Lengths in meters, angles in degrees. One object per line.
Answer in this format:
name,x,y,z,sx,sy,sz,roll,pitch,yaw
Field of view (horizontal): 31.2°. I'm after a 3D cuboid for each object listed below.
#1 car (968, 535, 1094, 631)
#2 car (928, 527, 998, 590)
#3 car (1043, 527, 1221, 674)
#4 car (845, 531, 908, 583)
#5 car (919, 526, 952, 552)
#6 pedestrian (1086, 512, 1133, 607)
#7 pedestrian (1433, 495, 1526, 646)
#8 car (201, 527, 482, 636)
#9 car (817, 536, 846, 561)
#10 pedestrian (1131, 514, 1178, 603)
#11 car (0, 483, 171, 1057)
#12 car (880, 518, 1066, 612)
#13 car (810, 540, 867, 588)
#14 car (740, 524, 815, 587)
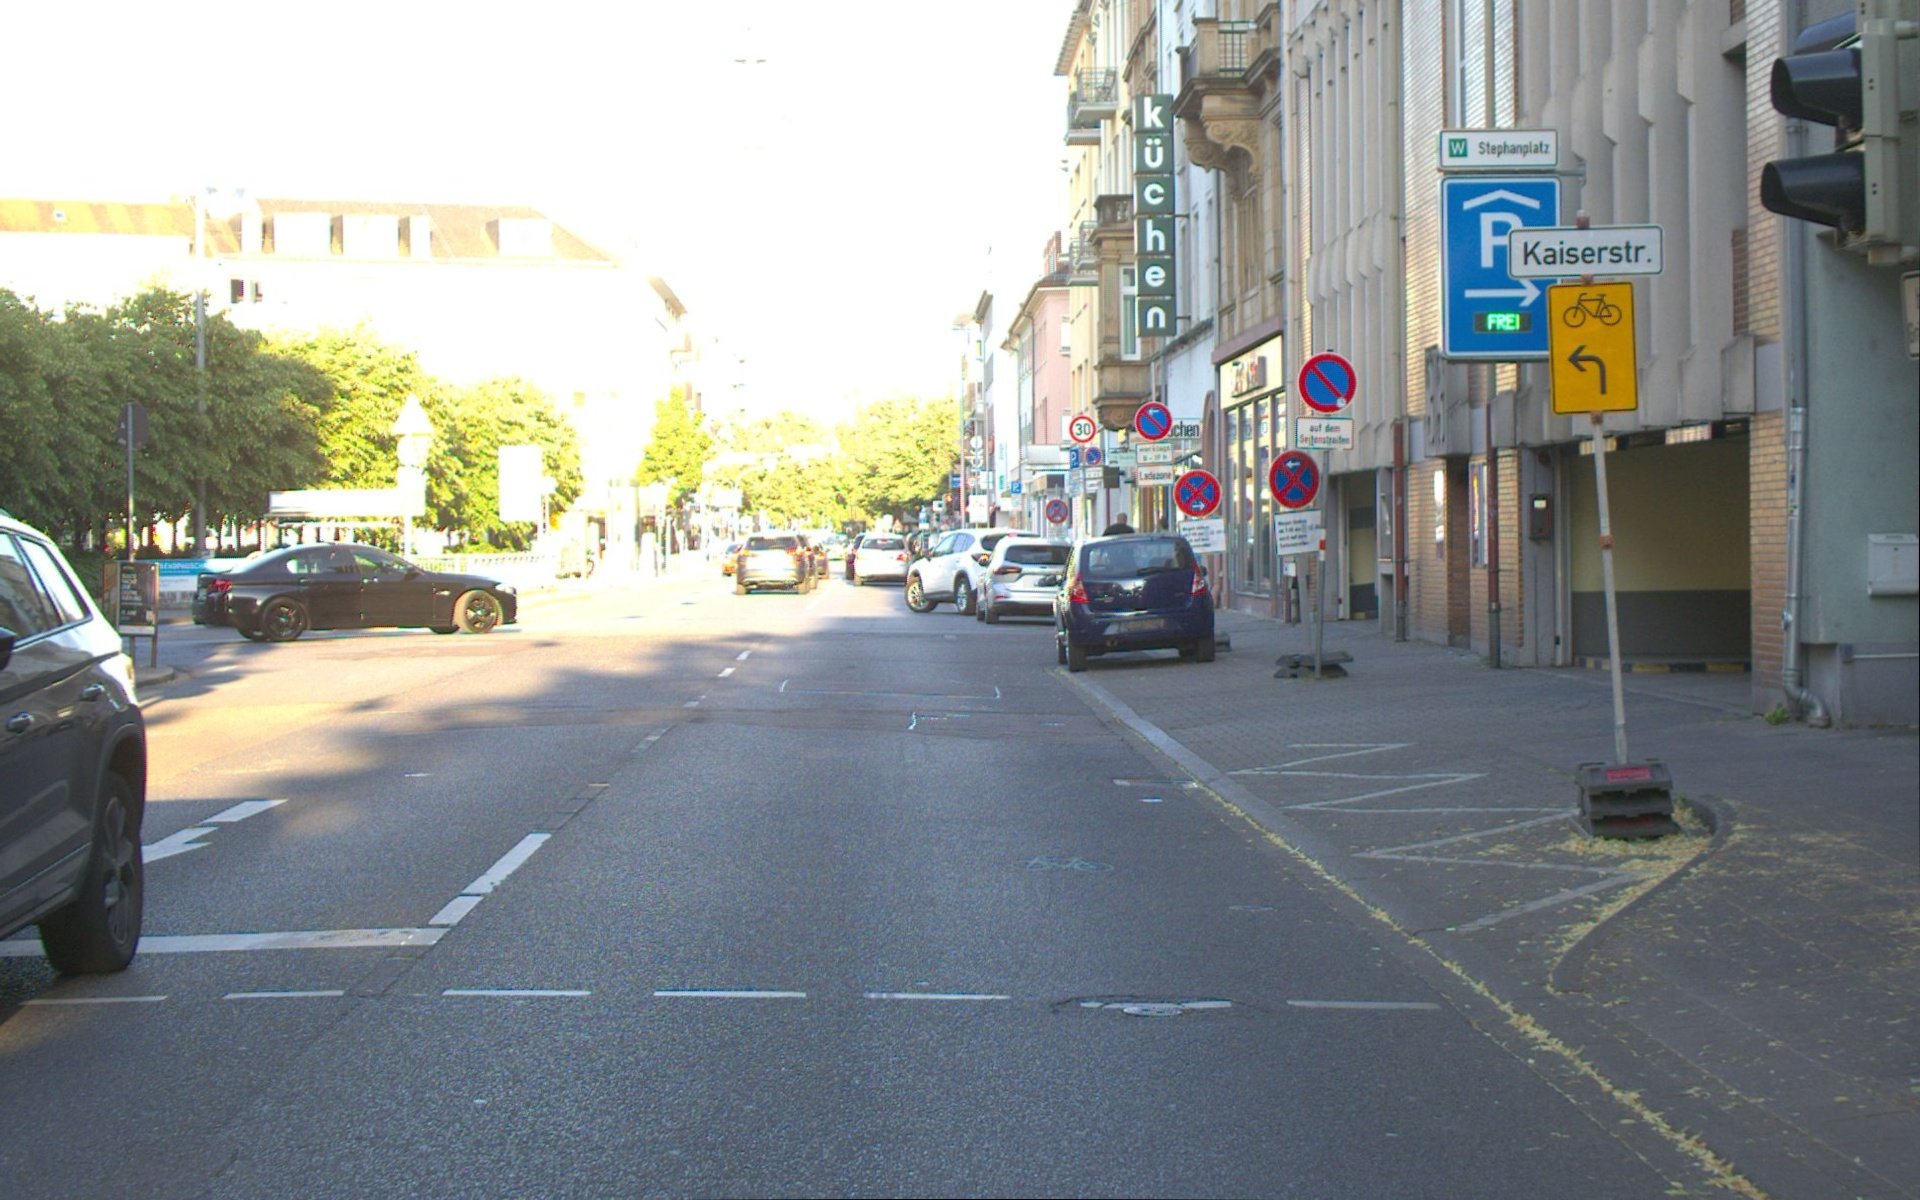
car,1.170,-0.302,58.816,1.758,1.531,4.822,1,0,-3
car,0.062,-1.130,93.007,1.729,1.645,4.285,1,1,-2
car,1.960,-0.034,40.208,1.759,1.531,4.000,-4,1,0
car,-2.616,-1.340,106.986,1.896,1.575,4.000,1,1,-2
car,-1.525,-3.734,211.233,1.896,1.575,3.852,0,1,-2
pedestrian,2.925,-0.792,67.146,0.772,1.821,1.011,-2,1,-2
pedestrian,5.566,-0.323,36.858,0.605,1.594,0.773,-1,1,-43
car,-9.379,-0.286,52.041,3.986,1.576,1.903,1,1,-16
car,-8.044,-3.246,215.493,1.779,1.542,4.001,0,1,-2
pedestrian,3.798,-0.816,67.234,0.772,1.705,1.042,-2,1,-2
car,-3.798,0.515,10.465,1.861,1.686,4.461,-1,2,-2
car,0.214,-0.684,67.217,1.993,1.755,4.467,-1,1,-23
car,-4.247,-1.275,120.387,1.896,1.575,3.852,2,1,-2
car,-4.871,-1.190,92.102,1.896,1.644,4.105,0,1,-2
